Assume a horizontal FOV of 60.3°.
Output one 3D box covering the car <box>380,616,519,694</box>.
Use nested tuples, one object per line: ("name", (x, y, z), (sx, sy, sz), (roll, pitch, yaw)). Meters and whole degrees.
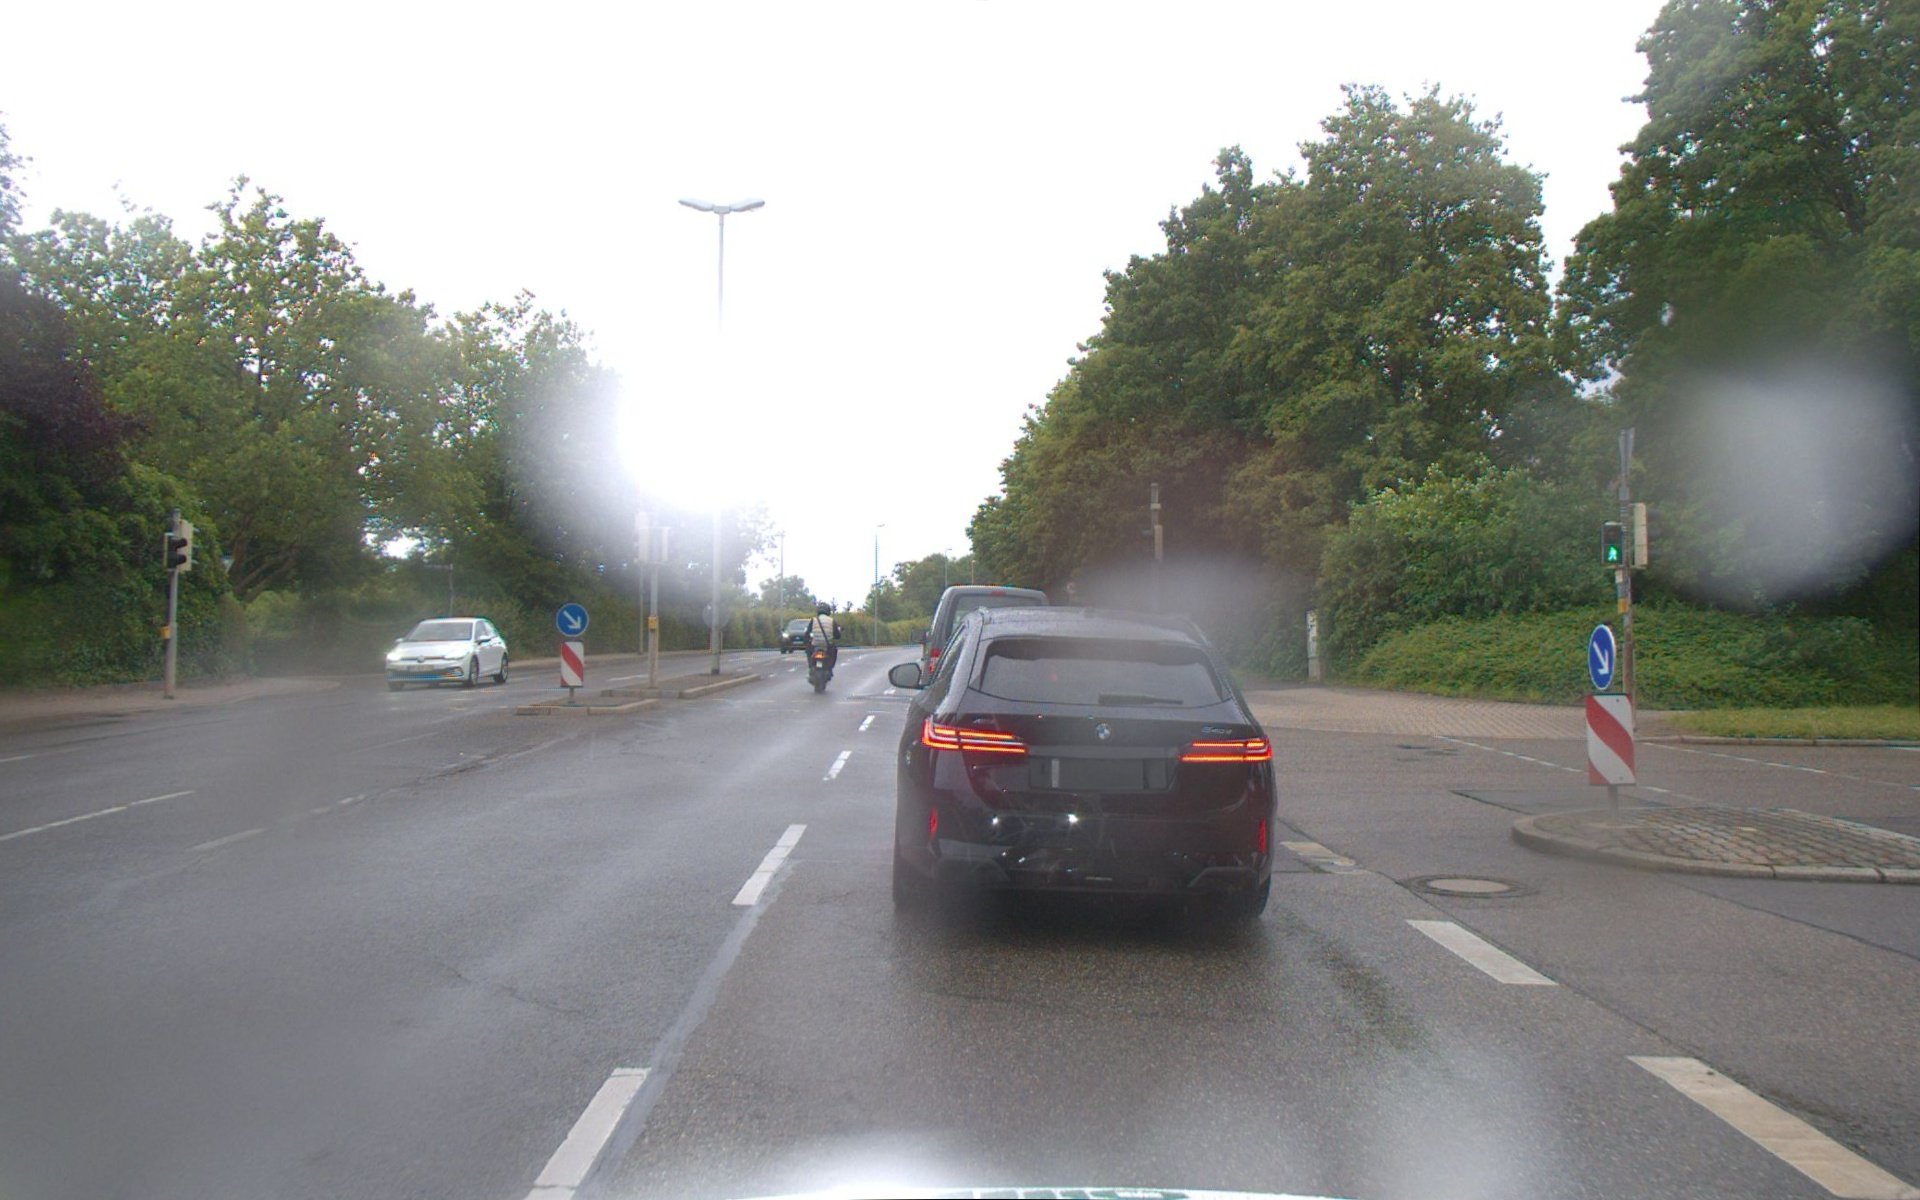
("car", (-10.909, 1.131, 35.611), (1.692, 1.511, 4.156), (-1, 0, 0))

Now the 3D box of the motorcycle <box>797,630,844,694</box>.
("motorcycle", (-2.621, 1.155, 31.236), (0.726, 1.139, 1.426), (1, 0, 0))

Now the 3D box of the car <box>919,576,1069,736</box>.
("car", (0.418, 0.651, 21.376), (1.730, 1.841, 3.905), (1, 0, 0))

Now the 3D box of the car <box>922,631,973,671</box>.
("car", (-0.478, 2.071, 67.638), (1.973, 1.440, 4.486), (1, 0, 0))

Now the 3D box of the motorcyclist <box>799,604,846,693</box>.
("motorcyclist", (-2.603, 0.913, 31.288), (0.828, 1.676, 0.468), (1, 0, 0))

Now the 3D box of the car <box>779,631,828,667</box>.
("car", (-7.328, 2.268, 77.741), (1.984, 1.590, 3.876), (-1, -1, -1))

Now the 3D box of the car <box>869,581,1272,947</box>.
("car", (0.500, 0.726, 9.058), (1.728, 1.563, 3.673), (1, 0, 0))
